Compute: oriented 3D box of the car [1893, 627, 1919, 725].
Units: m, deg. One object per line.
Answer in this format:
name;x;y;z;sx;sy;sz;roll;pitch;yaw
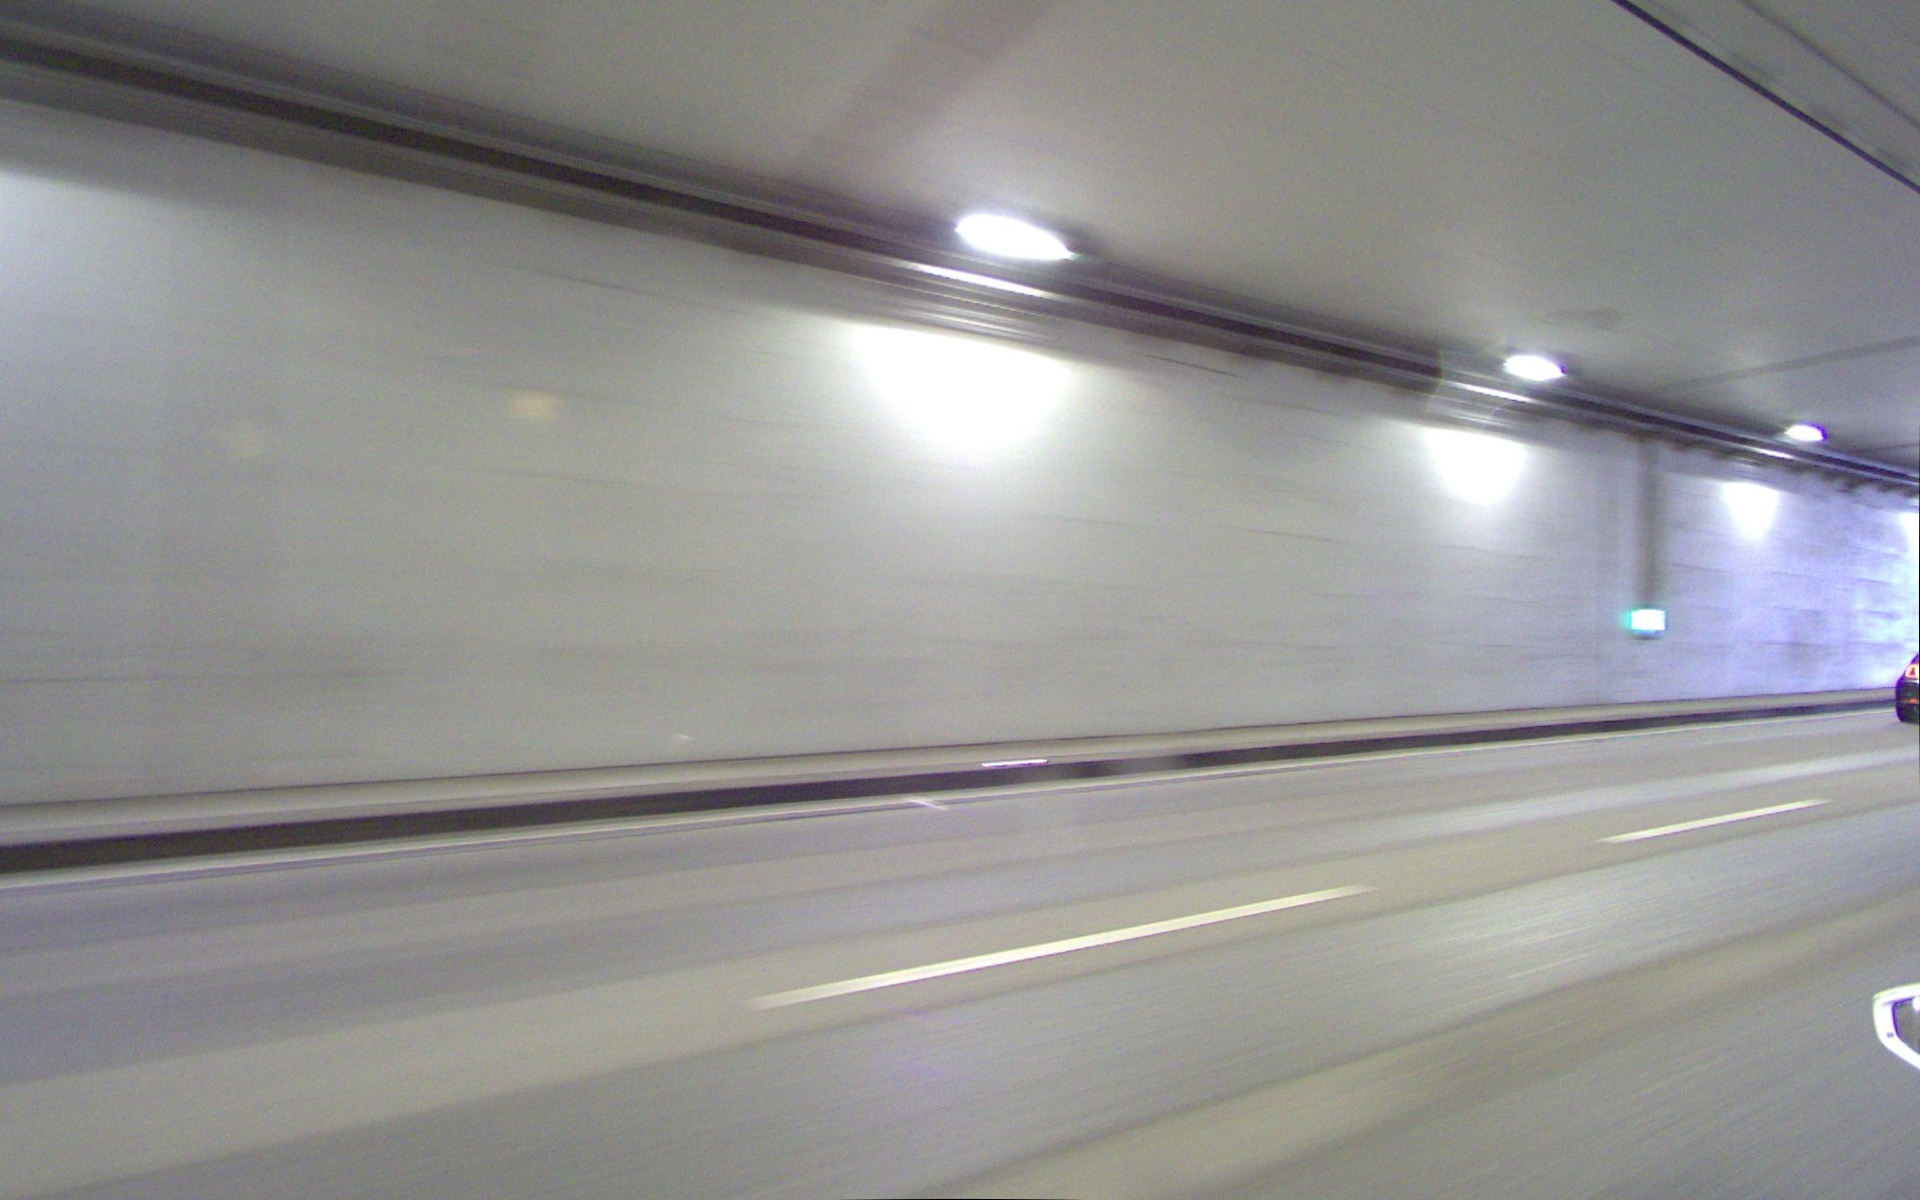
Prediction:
car;16.219;1.173;15.642;3.532;1.473;1.604;1;-1;-32
